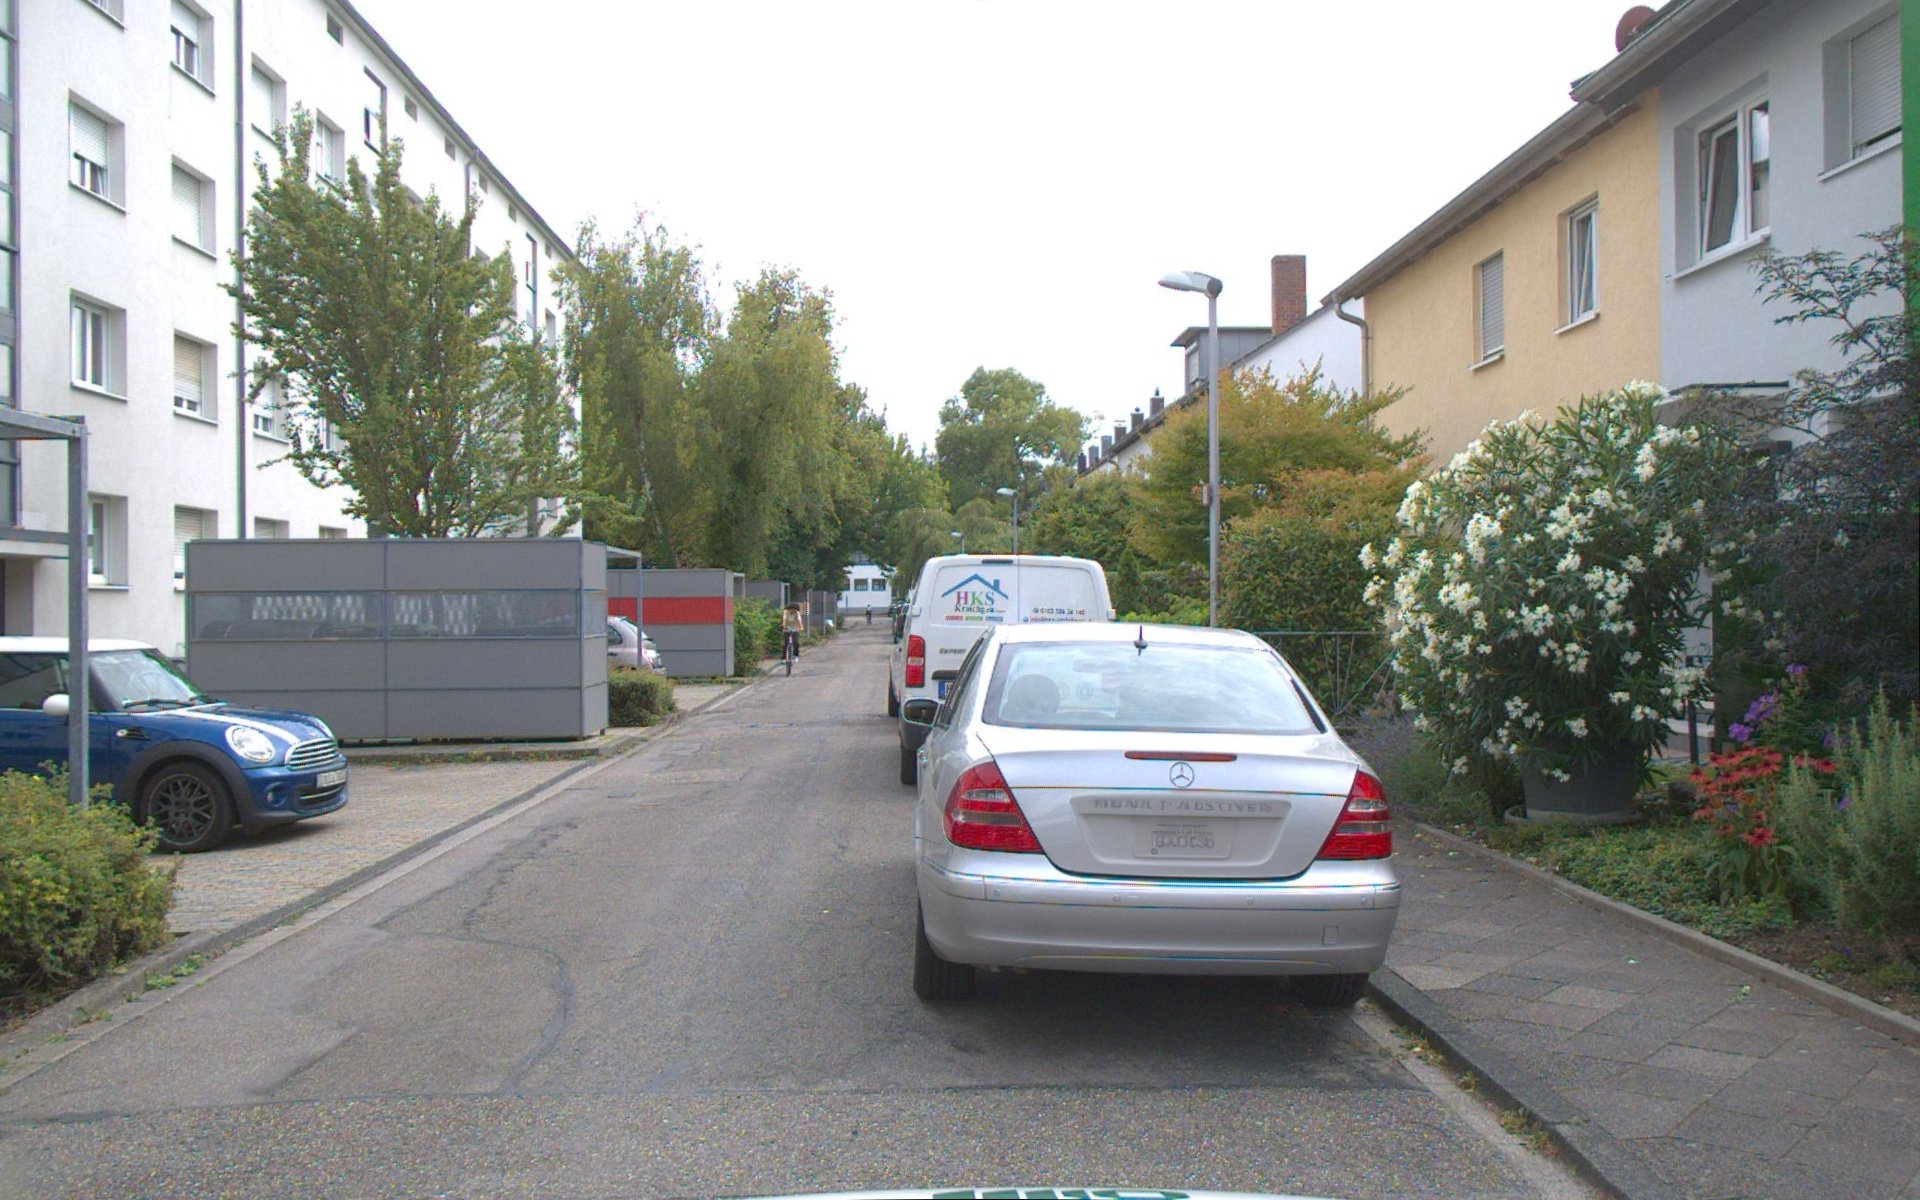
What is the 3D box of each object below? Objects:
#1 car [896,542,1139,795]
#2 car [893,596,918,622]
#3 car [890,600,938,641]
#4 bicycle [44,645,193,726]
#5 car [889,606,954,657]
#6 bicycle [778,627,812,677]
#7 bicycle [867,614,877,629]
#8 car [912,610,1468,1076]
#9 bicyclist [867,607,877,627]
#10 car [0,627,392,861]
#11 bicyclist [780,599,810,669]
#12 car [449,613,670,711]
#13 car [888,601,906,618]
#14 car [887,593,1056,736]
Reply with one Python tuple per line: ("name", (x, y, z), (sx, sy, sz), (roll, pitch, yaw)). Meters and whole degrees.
("car", (0.364, 0.559, 15.829), (1.866, 1.999, 5.250), (1, 0, -3))
("car", (-4.094, 0.671, 124.338), (1.788, 1.916, 3.998), (1, 0, -2))
("car", (-1.902, 0.818, 67.756), (1.789, 1.609, 3.997), (1, 0, -4))
("bicycle", (-11.724, 1.176, 23.082), (1.796, 1.042, 0.471), (-1, 0, -44))
("car", (-1.157, 0.910, 48.916), (1.788, 1.394, 4.329), (1, 0, -2))
("bicycle", (-3.888, 1.205, 39.035), (0.585, 1.095, 2.042), (-2, 0, -1))
("bicycle", (-7.043, 1.698, 132.273), (0.675, 1.151, 2.579), (1, 0, 0))
("car", (0.703, 0.784, 7.449), (1.747, 1.445, 4.454), (1, 0, -1))
("bicyclist", (-7.022, 1.376, 132.234), (0.782, 1.537, 0.934), (1, -1, 0))
("car", (-6.178, 0.997, 11.897), (3.560, 1.487, 1.653), (-2, 0, 1))
("bicyclist", (-3.899, 0.799, 39.029), (0.585, 1.608, 0.767), (-2, 0, -1))
("car", (-6.901, 1.050, 28.777), (3.494, 1.506, 1.708), (-2, 0, -7))
("car", (-6.279, 0.914, 165.107), (1.788, 1.609, 3.998), (1, 0, -2))
("car", (0.049, 0.763, 21.461), (1.789, 1.664, 4.157), (1, 0, -5))
